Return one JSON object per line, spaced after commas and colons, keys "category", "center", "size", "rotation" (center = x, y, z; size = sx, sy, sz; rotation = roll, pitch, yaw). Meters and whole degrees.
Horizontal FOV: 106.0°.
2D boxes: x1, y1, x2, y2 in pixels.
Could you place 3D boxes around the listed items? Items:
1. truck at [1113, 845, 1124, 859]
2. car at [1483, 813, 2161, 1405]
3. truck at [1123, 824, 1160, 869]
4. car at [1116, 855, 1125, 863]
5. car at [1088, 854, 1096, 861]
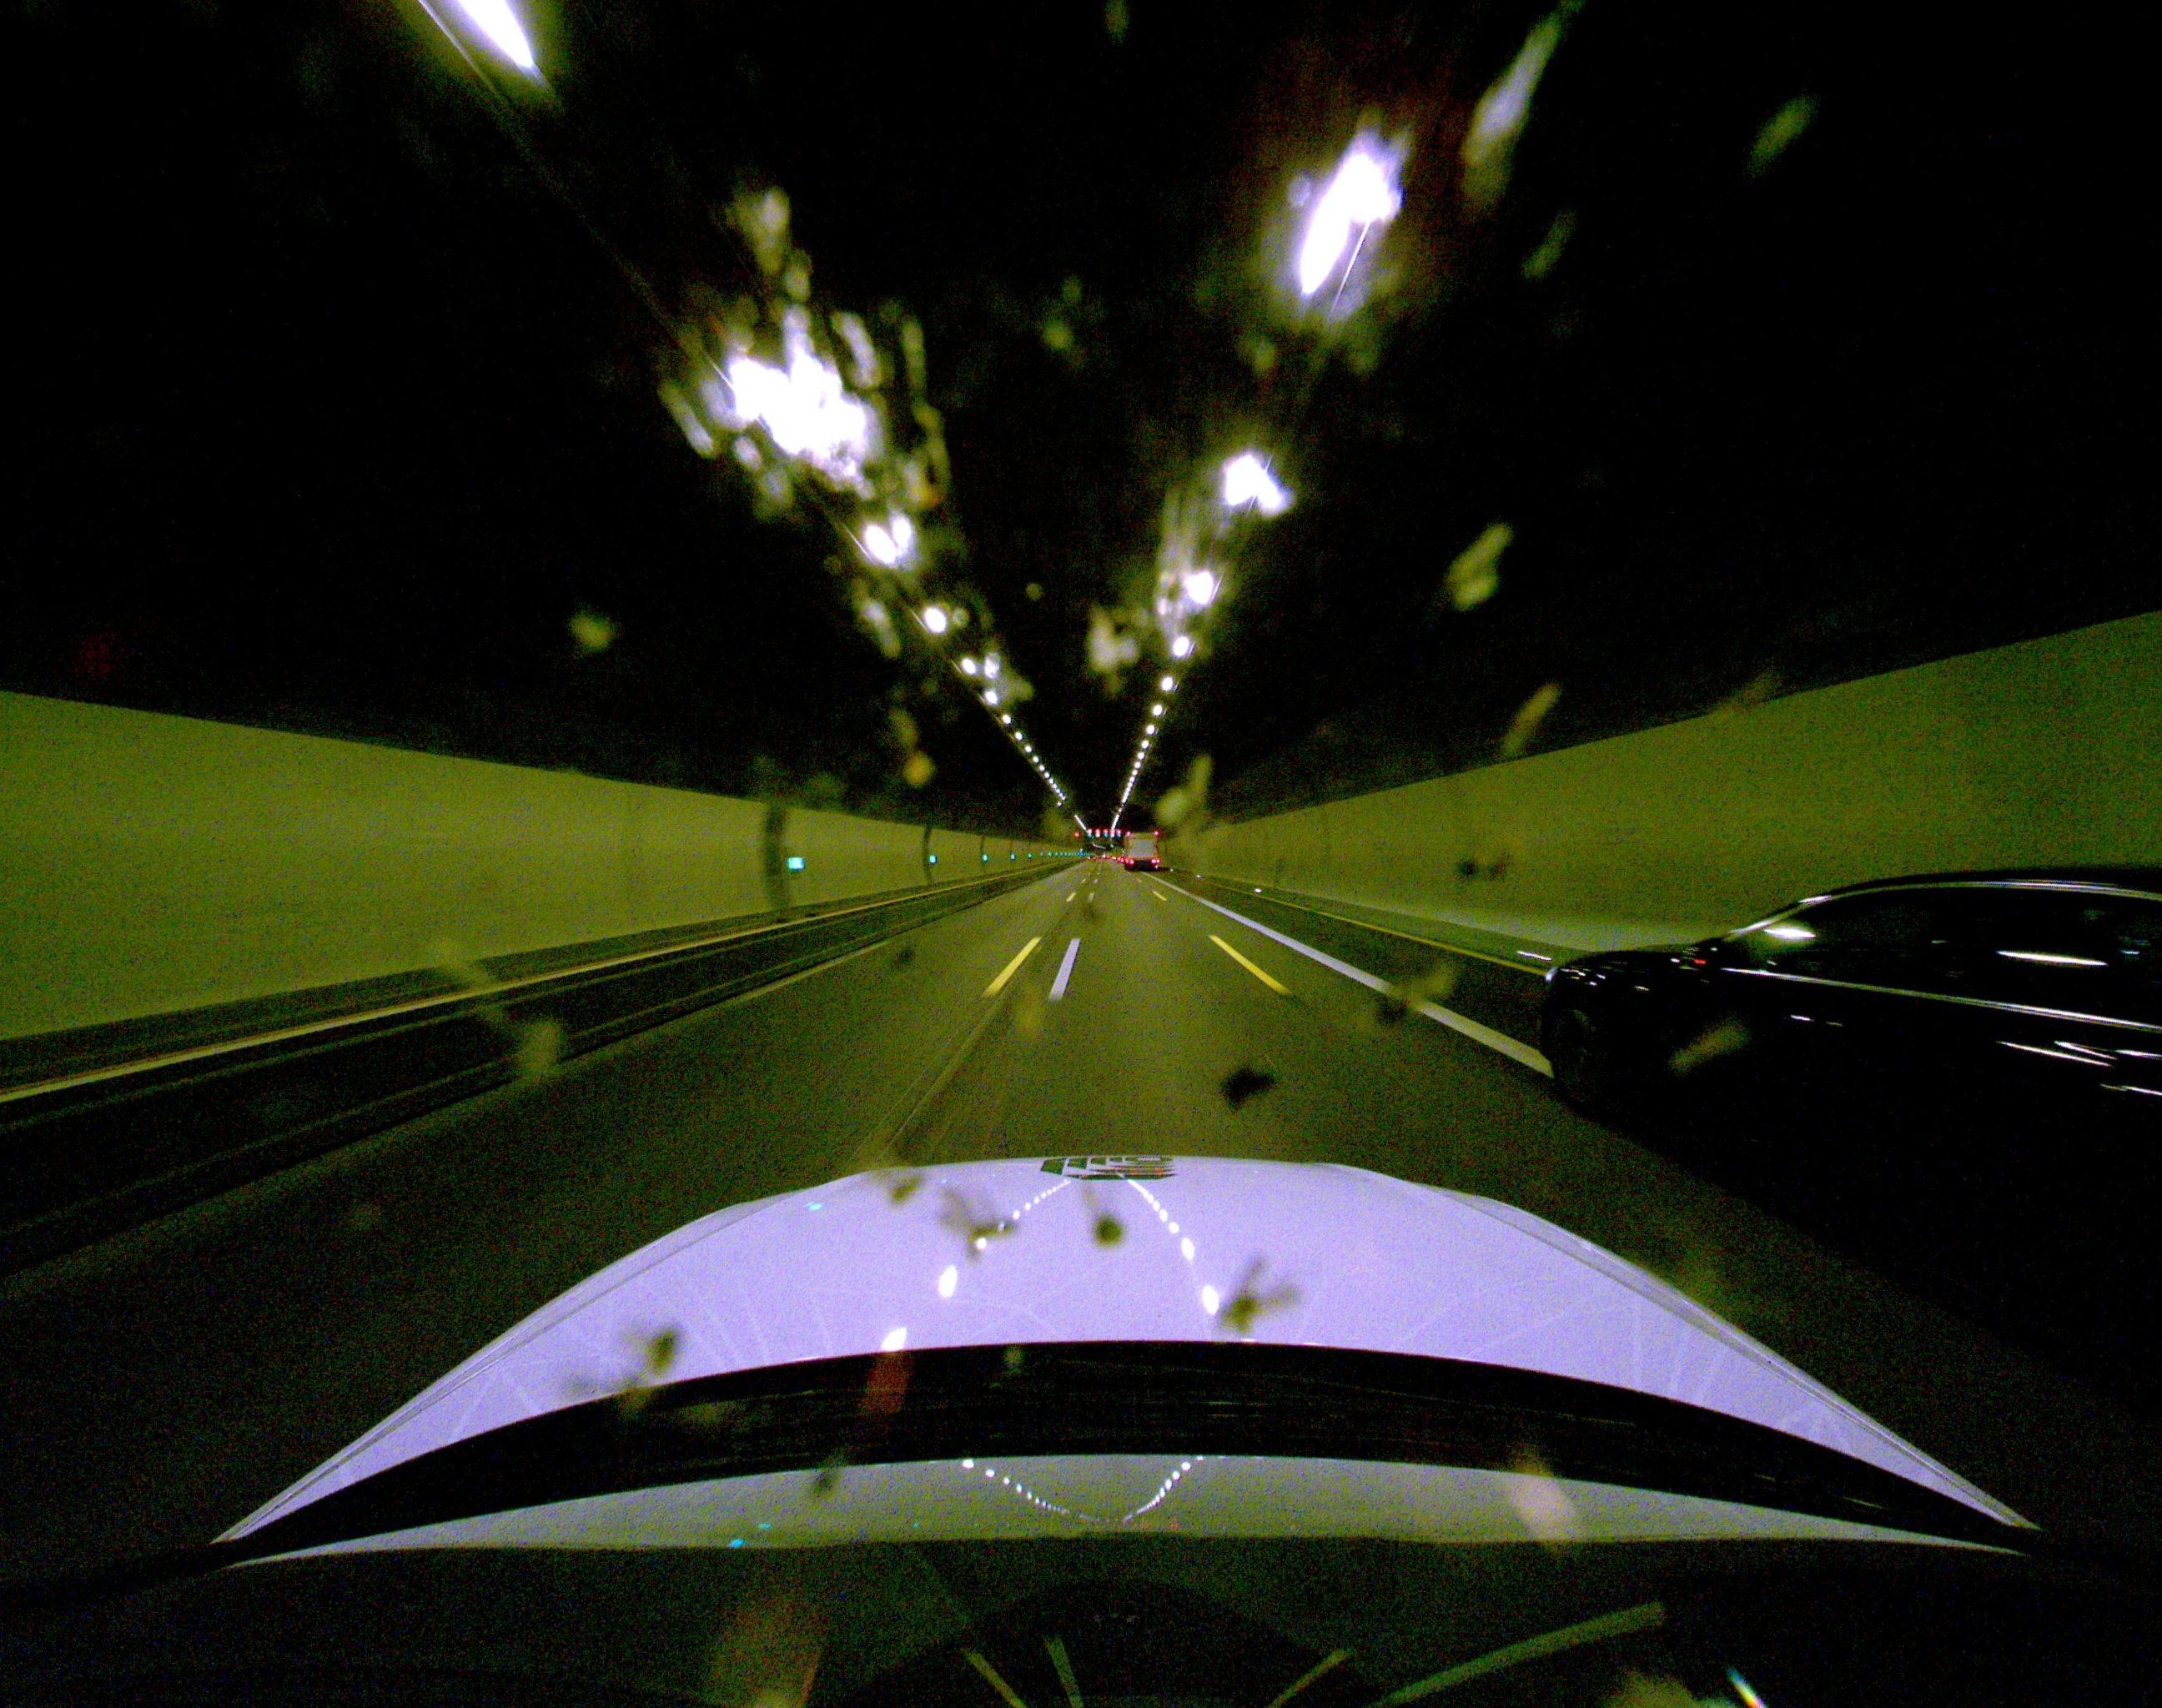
{"category": "truck", "center": [11.029, -0.408, 238.689], "size": [3.053, 3.918, 10.376], "rotation": [1, -1, 3]}
{"category": "car", "center": [3.696, 0.645, 3.229], "size": [1.918, 1.472, 4.957], "rotation": [0, 0, 2]}
{"category": "truck", "center": [5.538, -0.605, 76.026], "size": [3.080, 3.918, 10.372], "rotation": [1, -1, 2]}
{"category": "car", "center": [7.948, 1.008, 164.889], "size": [1.732, 1.461, 3.964], "rotation": [0, 1, 3]}
{"category": "car", "center": [2.490, 0.832, 181.796], "size": [1.752, 1.461, 4.121], "rotation": [0, 1, 2]}
